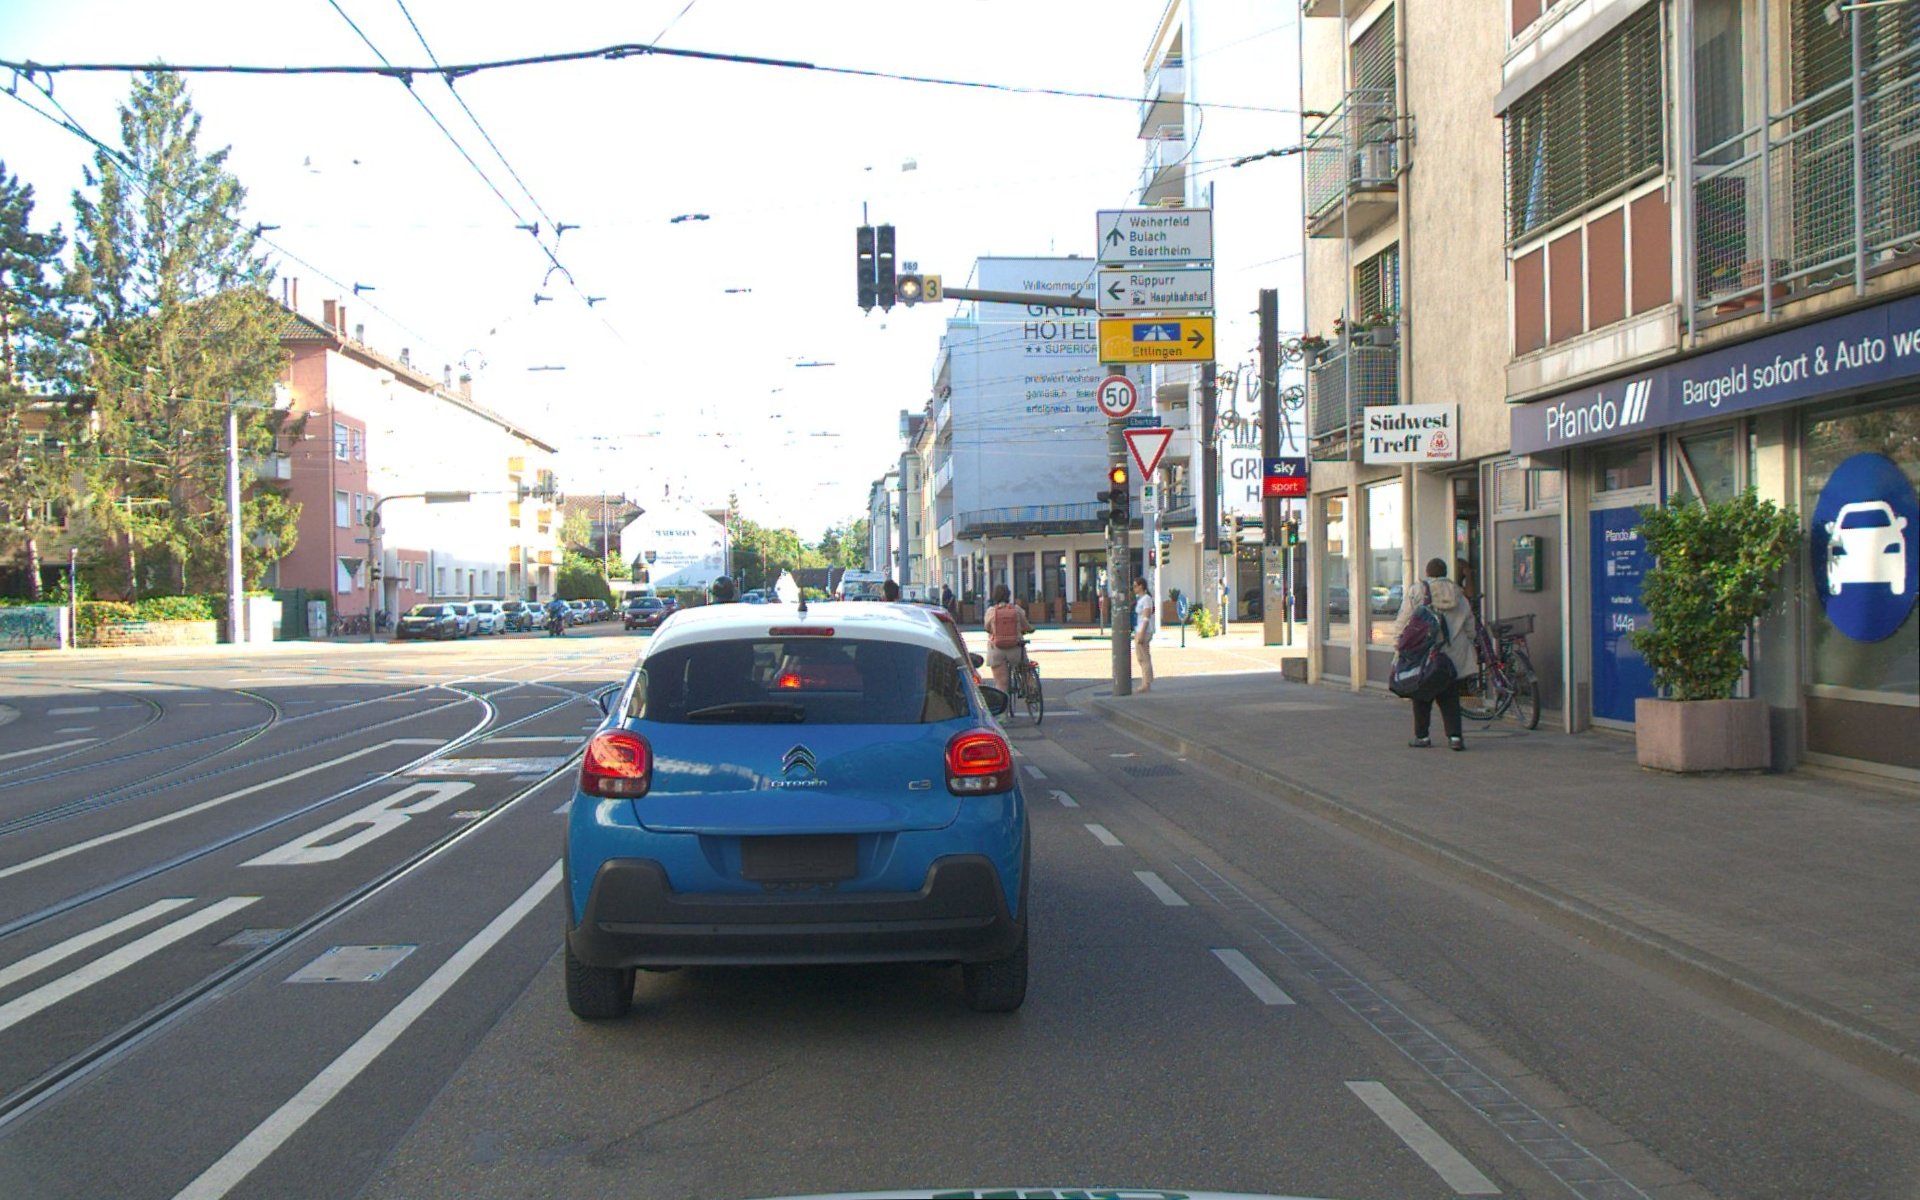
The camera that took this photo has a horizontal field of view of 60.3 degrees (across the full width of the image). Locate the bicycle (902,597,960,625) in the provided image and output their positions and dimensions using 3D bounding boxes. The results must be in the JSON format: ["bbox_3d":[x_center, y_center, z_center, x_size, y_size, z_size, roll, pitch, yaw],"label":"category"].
[{"bbox_3d":[-1.148,0.451,65.777,2.208,1.019,0.855,-2,0,-6],"label":"bicycle"}]

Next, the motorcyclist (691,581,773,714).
[{"bbox_3d":[-2.656,0.547,19.356,0.837,1.514,0.729,1,-1,-1],"label":"motorcyclist"}]

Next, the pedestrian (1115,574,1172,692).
[{"bbox_3d":[2.680,0.476,24.141,0.528,1.652,0.733,-5,-2,21],"label":"pedestrian"}]

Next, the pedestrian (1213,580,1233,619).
[{"bbox_3d":[9.934,-0.018,62.499,0.594,1.469,0.554,1,-1,26],"label":"pedestrian"}]

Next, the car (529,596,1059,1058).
[{"bbox_3d":[-0.438,0.730,7.178,1.700,1.478,3.664,0,0,4],"label":"car"}]

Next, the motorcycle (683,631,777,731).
[{"bbox_3d":[-2.659,0.915,19.349,0.837,1.065,1.942,1,0,-1],"label":"motorcycle"}]

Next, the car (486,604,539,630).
[{"bbox_3d":[-23.146,0.875,85.718,1.909,1.261,4.278,1,0,-5],"label":"car"}]

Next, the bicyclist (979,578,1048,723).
[{"bbox_3d":[0.663,0.605,20.334,0.794,1.721,0.935,1,0,4],"label":"bicyclist"}]

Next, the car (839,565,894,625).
[{"bbox_3d":[-4.149,-0.209,72.753,2.221,2.525,5.002,0,0,-5],"label":"car"}]

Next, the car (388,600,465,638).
[{"bbox_3d":[-22.099,0.822,68.701,2.112,1.457,4.435,1,-2,-5],"label":"car"}]

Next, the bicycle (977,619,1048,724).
[{"bbox_3d":[0.675,0.853,20.499,0.794,1.202,2.065,1,0,4],"label":"bicycle"}]

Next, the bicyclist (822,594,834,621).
[{"bbox_3d":[-9.978,0.582,124.971,0.774,2.060,0.986,1,-1,0],"label":"bicyclist"}]

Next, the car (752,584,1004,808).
[{"bbox_3d":[-0.747,0.660,13.505,1.750,1.548,3.758,1,1,-5],"label":"car"}]

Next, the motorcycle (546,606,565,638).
[{"bbox_3d":[-16.321,0.892,66.713,0.700,1.241,1.958,-1,-2,-14],"label":"motorcycle"}]

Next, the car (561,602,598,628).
[{"bbox_3d":[-24.655,0.947,107.215,1.833,1.604,3.995,1,0,-6],"label":"car"}]

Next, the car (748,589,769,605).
[{"bbox_3d":[-22.853,-0.329,187.481,2.033,1.793,5.032,1,0,-4],"label":"car"}]

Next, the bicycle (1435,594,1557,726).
[{"bbox_3d":[5.096,0.548,15.825,0.486,1.182,1.776,-1,0,-4],"label":"bicycle"}]

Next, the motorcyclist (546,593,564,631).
[{"bbox_3d":[-16.365,0.478,66.871,0.681,1.523,0.682,-1,-2,-14],"label":"motorcyclist"}]

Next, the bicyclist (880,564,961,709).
[{"bbox_3d":[-0.484,0.433,20.067,0.921,1.702,1.079,1,0,-2],"label":"bicyclist"}]

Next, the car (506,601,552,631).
[{"bbox_3d":[-23.855,0.895,91.689,1.833,1.604,3.995,1,0,-6],"label":"car"}]

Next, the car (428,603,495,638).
[{"bbox_3d":[-22.235,0.901,73.915,1.865,1.462,4.100,1,0,-3],"label":"car"}]

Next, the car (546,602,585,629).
[{"bbox_3d":[-24.361,0.931,102.235,1.833,1.604,3.995,1,0,-6],"label":"car"}]

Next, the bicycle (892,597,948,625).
[{"bbox_3d":[-1.662,0.452,68.245,2.208,1.019,0.855,-2,0,-6],"label":"bicycle"}]

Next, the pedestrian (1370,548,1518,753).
[{"bbox_3d":[4.067,0.404,13.948,0.868,1.619,0.809,-3,1,-9],"label":"pedestrian"}]

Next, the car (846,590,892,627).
[{"bbox_3d":[-3.767,0.334,67.773,1.626,1.456,3.882,1,0,-7],"label":"car"}]

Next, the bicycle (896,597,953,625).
[{"bbox_3d":[-1.437,0.443,67.140,2.208,1.019,0.855,-2,0,-6],"label":"bicycle"}]

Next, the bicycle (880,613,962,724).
[{"bbox_3d":[-0.477,0.790,19.988,0.921,1.245,2.094,1,0,-2],"label":"bicycle"}]

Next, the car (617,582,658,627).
[{"bbox_3d":[-23.122,0.321,118.624,2.370,3.197,3.486,1,0,-4],"label":"car"}]

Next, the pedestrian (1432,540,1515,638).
[{"bbox_3d":[5.975,-0.128,19.255,0.618,1.106,0.670,-2,1,-38],"label":"pedestrian"}]

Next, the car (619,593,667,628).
[{"bbox_3d":[-14.570,0.467,76.174,1.744,1.512,3.824,-1,0,-5],"label":"car"}]

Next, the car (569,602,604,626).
[{"bbox_3d":[-25.333,0.957,112.360,1.833,1.604,3.995,1,0,-6],"label":"car"}]

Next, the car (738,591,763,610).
[{"bbox_3d":[-21.585,0.044,170.732,2.174,1.965,4.945,1,0,-4],"label":"car"}]

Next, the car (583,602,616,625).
[{"bbox_3d":[-25.815,0.975,118.558,1.833,1.604,3.995,1,0,-6],"label":"car"}]

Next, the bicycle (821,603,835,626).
[{"bbox_3d":[-9.984,1.085,125.052,0.774,1.699,2.230,1,0,1],"label":"bicycle"}]

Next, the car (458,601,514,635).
[{"bbox_3d":[-22.628,0.862,79.055,1.707,1.553,4.226,1,0,-4],"label":"car"}]

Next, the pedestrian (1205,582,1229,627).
[{"bbox_3d":[9.329,0.164,60.036,0.601,1.636,0.665,0,-1,42],"label":"pedestrian"}]

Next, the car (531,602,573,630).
[{"bbox_3d":[-24.083,0.917,97.745,1.833,1.604,3.995,1,0,-6],"label":"car"}]
